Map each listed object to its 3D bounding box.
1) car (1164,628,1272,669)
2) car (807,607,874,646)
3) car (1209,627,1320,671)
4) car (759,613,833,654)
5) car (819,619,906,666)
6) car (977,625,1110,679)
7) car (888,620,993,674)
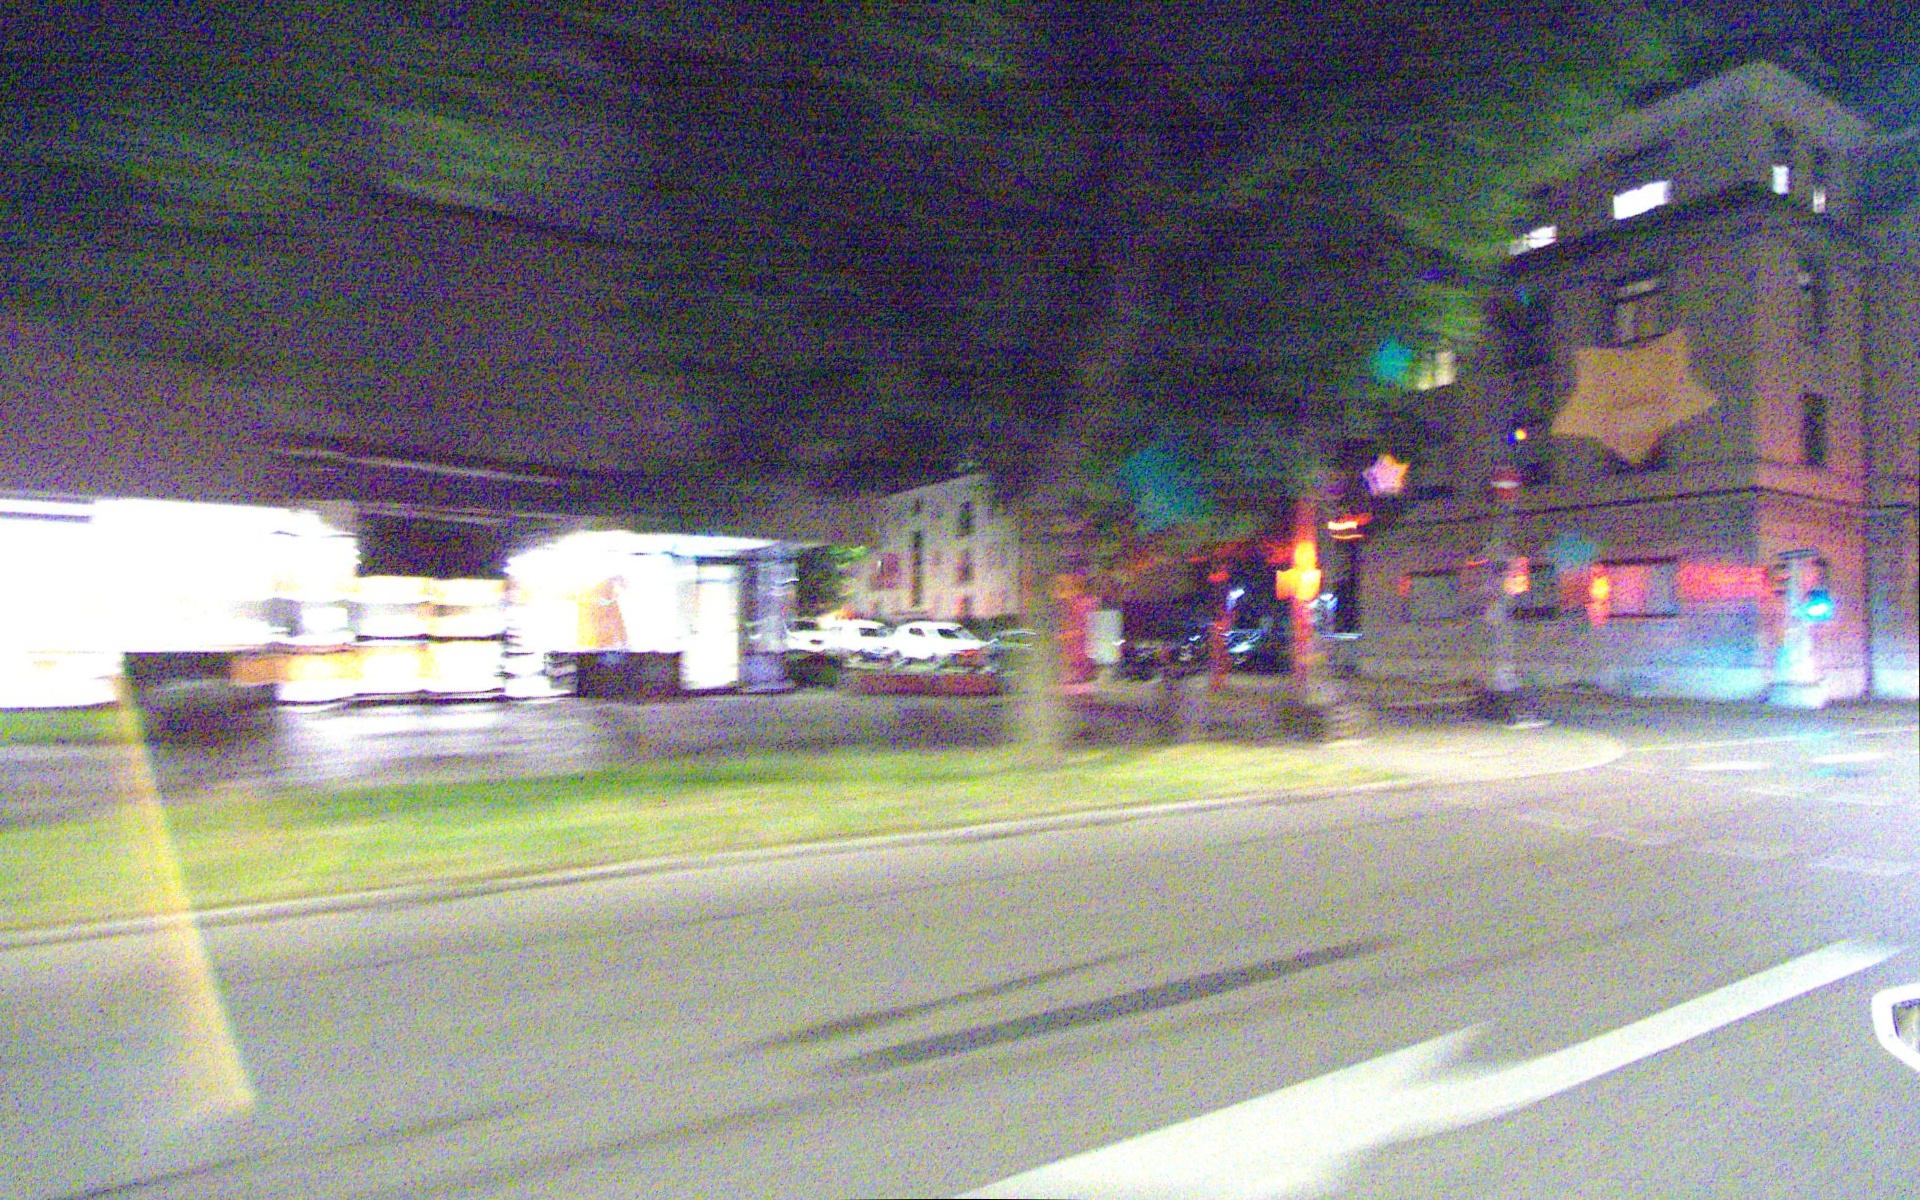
[{"bbox_3d":[10.808,2.033,42.033,4.133,1.661,1.986,2,-3,-28],"label":"car"},{"bbox_3d":[-7.569,1.719,63.188,2.144,2.363,5.681,2,-3,-30],"label":"car"},{"bbox_3d":[12.026,1.943,39.684,3.949,1.661,1.986,2,-3,-28],"label":"car"},{"bbox_3d":[-7.860,1.597,47.798,1.873,1.698,4.353,7,-5,-30],"label":"car"},{"bbox_3d":[-4.115,1.756,41.799,1.872,1.730,4.355,7,-5,-29],"label":"car"},{"bbox_3d":[2.448,1.551,30.551,1.812,1.410,4.355,7,-5,-29],"label":"car"},{"bbox_3d":[-0.765,1.669,36.276,1.812,1.698,4.355,7,-5,-29],"label":"car"}]
